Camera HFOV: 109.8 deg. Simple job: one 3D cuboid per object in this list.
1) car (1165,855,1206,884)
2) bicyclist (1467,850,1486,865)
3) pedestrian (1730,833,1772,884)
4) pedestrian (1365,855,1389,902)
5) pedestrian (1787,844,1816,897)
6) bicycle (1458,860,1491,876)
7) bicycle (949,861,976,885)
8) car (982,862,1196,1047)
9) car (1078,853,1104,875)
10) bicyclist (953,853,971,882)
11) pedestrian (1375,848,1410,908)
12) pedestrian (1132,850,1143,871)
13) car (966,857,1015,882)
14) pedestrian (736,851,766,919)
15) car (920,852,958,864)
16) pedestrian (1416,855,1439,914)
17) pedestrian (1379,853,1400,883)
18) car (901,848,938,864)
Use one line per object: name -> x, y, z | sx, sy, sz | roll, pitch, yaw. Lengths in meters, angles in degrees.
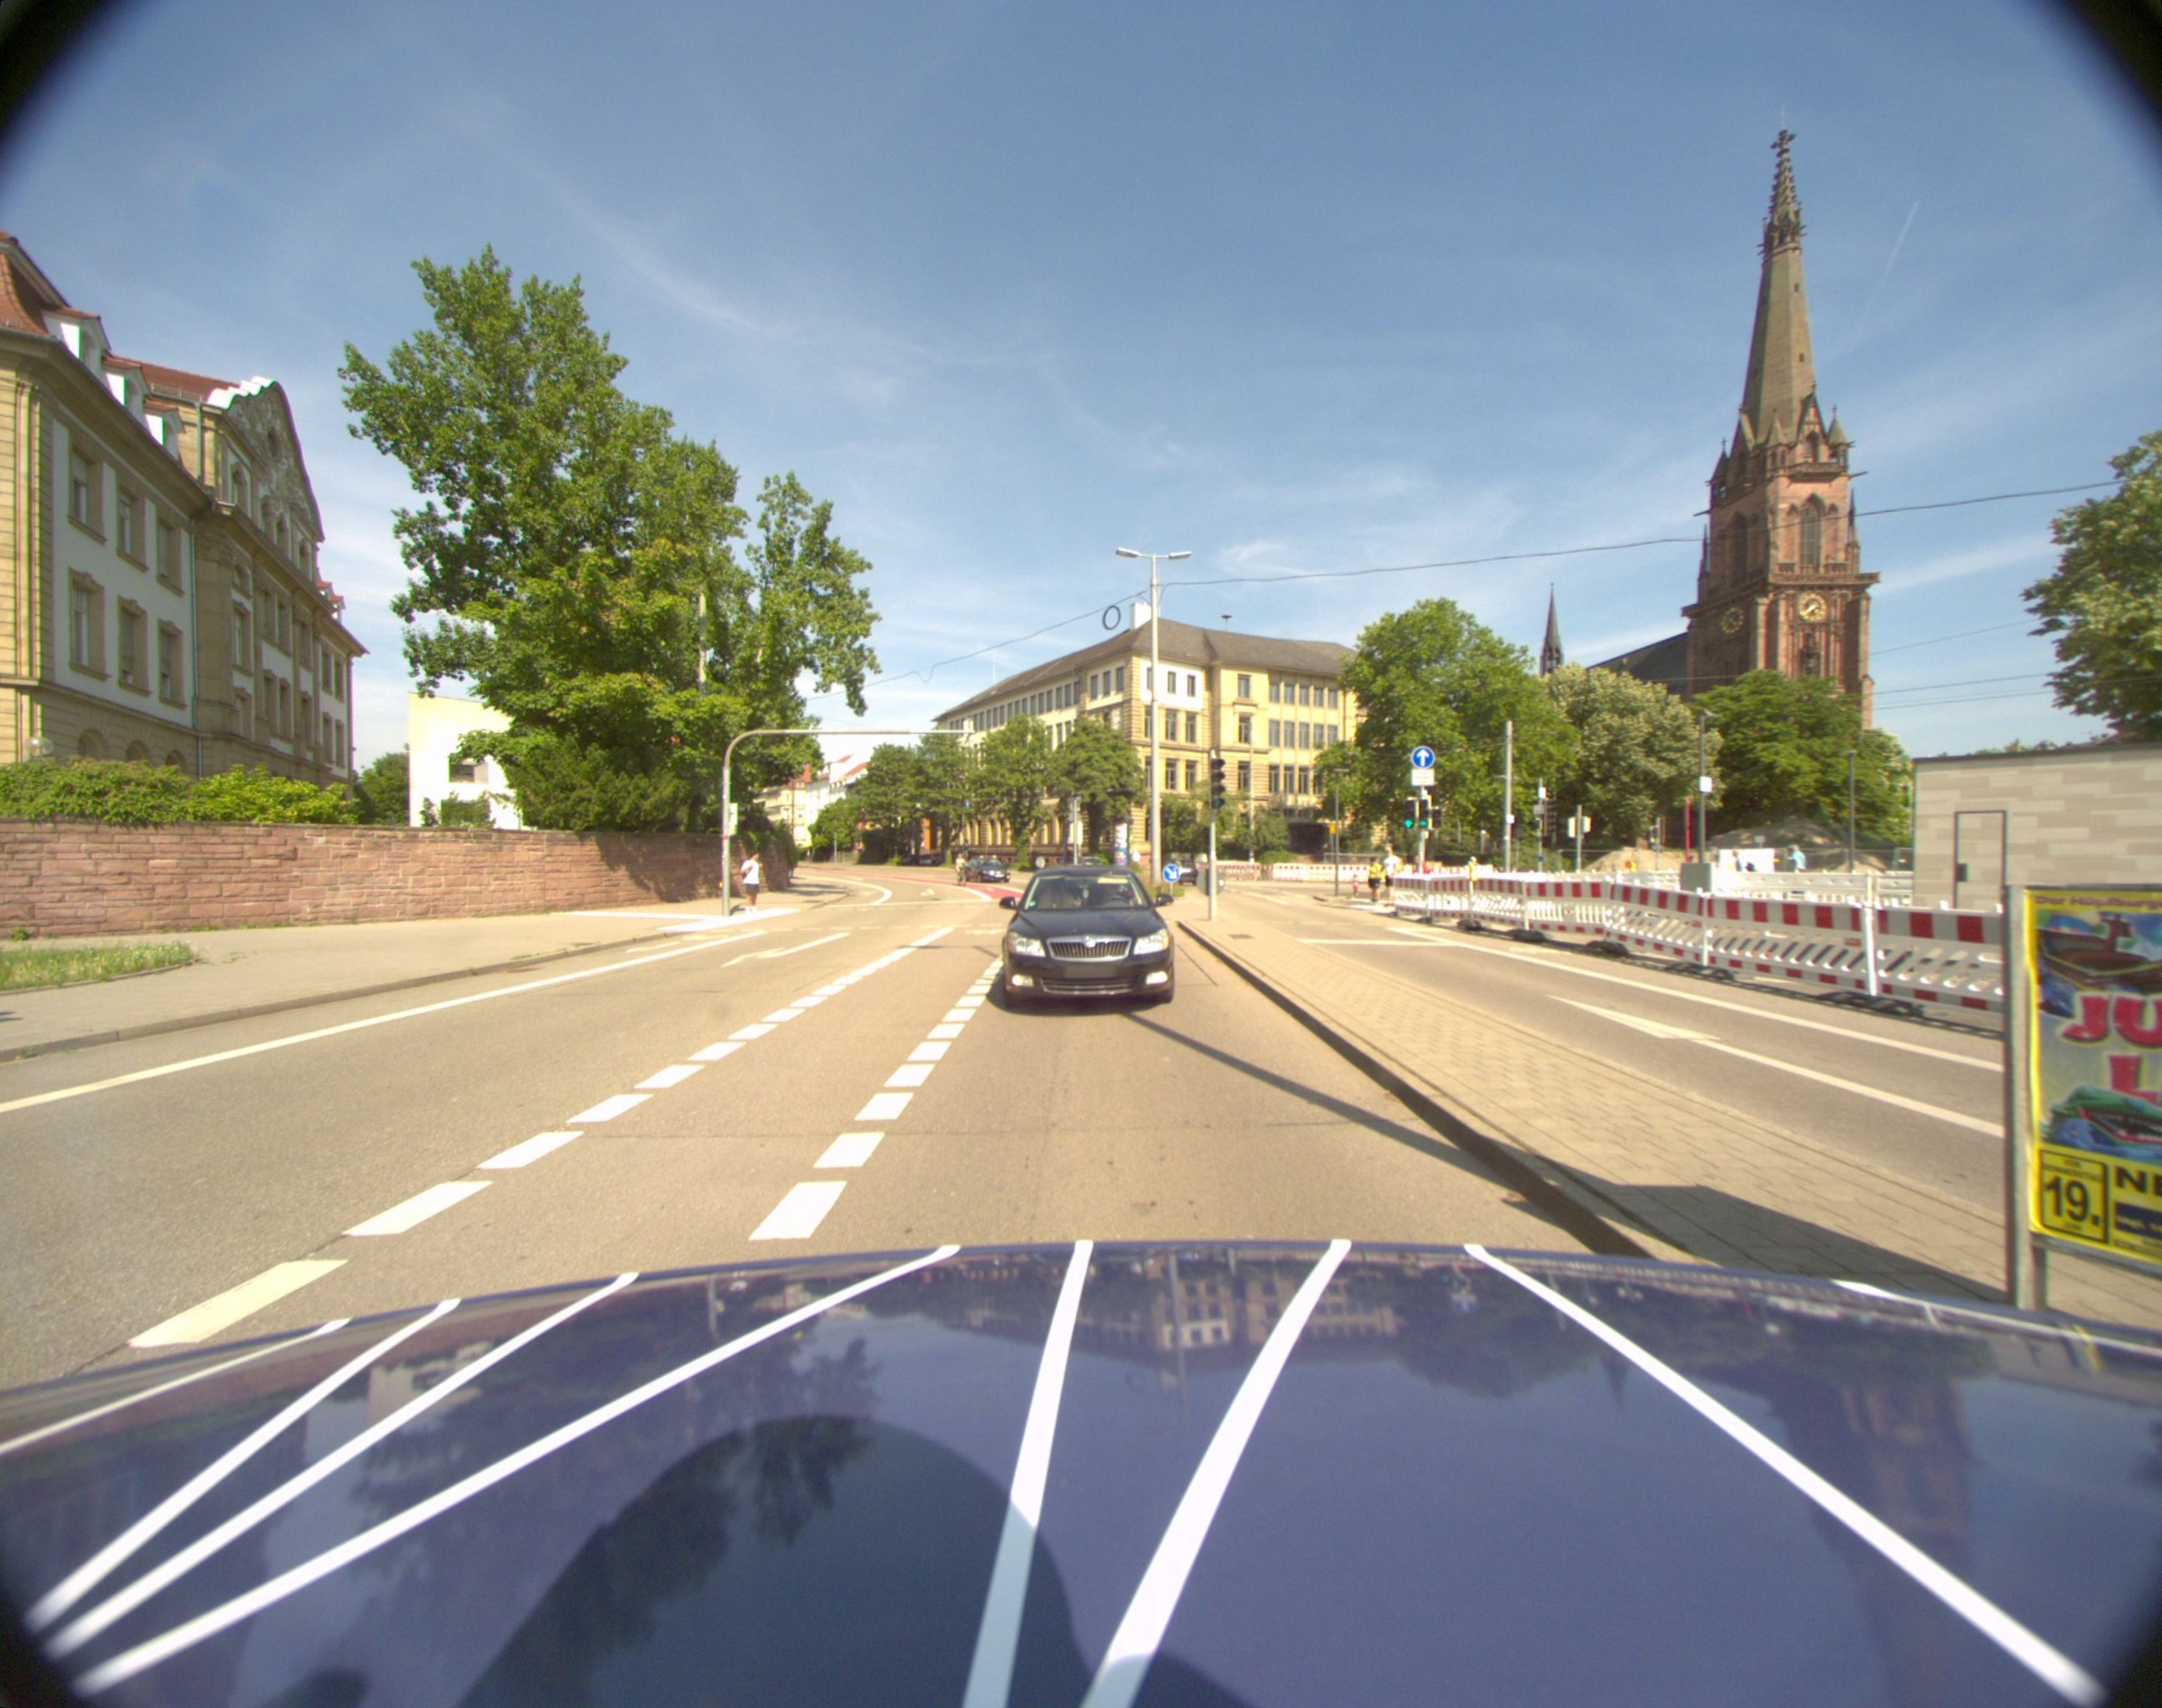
car -> 5.463, 0.781, 40.103 | 1.670, 1.442, 3.818 | 1, 0, 1
bicyclist -> 24.851, 0.210, 47.745 | 0.684, 0.922, 0.867 | -1, 1, -38
pedestrian -> 21.175, 0.147, 24.036 | 0.792, 1.606, 0.663 | 0, 0, 18
pedestrian -> 9.890, 0.813, 25.396 | 0.666, 1.534, 0.424 | -3, 1, 15
pedestrian -> 22.151, 0.506, 23.367 | 0.584, 1.606, 0.691 | 0, 0, 40
bicycle -> 24.780, 0.879, 47.855 | 0.703, 0.941, 1.661 | -1, 1, -39
bicycle -> -6.428, 1.024, 41.134 | 0.687, 1.215, 2.181 | 0, 1, -32
car -> 0.047, 0.911, 9.064 | 1.864, 1.510, 4.826 | 0, 1, -1
car -> 0.726, 0.691, 53.812 | 1.798, 1.403, 4.000 | 1, 0, 1
bicyclist -> -6.430, 0.713, 41.086 | 0.589, 1.539, 0.929 | -3, 2, -31
pedestrian -> 9.548, 0.725, 23.285 | 0.840, 1.802, 0.650 | 0, 0, 8
pedestrian -> 4.851, 0.558, 65.436 | 0.743, 1.739, 0.586 | 1, 1, 33
car -> -5.392, 0.881, 44.867 | 1.805, 1.368, 4.268 | -1, 1, -22
pedestrian -> -9.265, 0.865, 21.345 | 0.654, 1.863, 0.795 | 2, 0, -18
car -> -16.964, 0.503, 91.004 | 4.008, 1.455, 1.994 | 0, 0, -35
pedestrian -> 9.668, 0.835, 21.216 | 0.350, 1.606, 0.686 | 0, 1, 2
pedestrian -> 17.191, 0.761, 42.343 | 0.939, 1.646, 0.845 | 0, 1, 9
car -> -20.301, 0.227, 95.612 | 4.008, 2.002, 1.994 | 0, 1, -35
